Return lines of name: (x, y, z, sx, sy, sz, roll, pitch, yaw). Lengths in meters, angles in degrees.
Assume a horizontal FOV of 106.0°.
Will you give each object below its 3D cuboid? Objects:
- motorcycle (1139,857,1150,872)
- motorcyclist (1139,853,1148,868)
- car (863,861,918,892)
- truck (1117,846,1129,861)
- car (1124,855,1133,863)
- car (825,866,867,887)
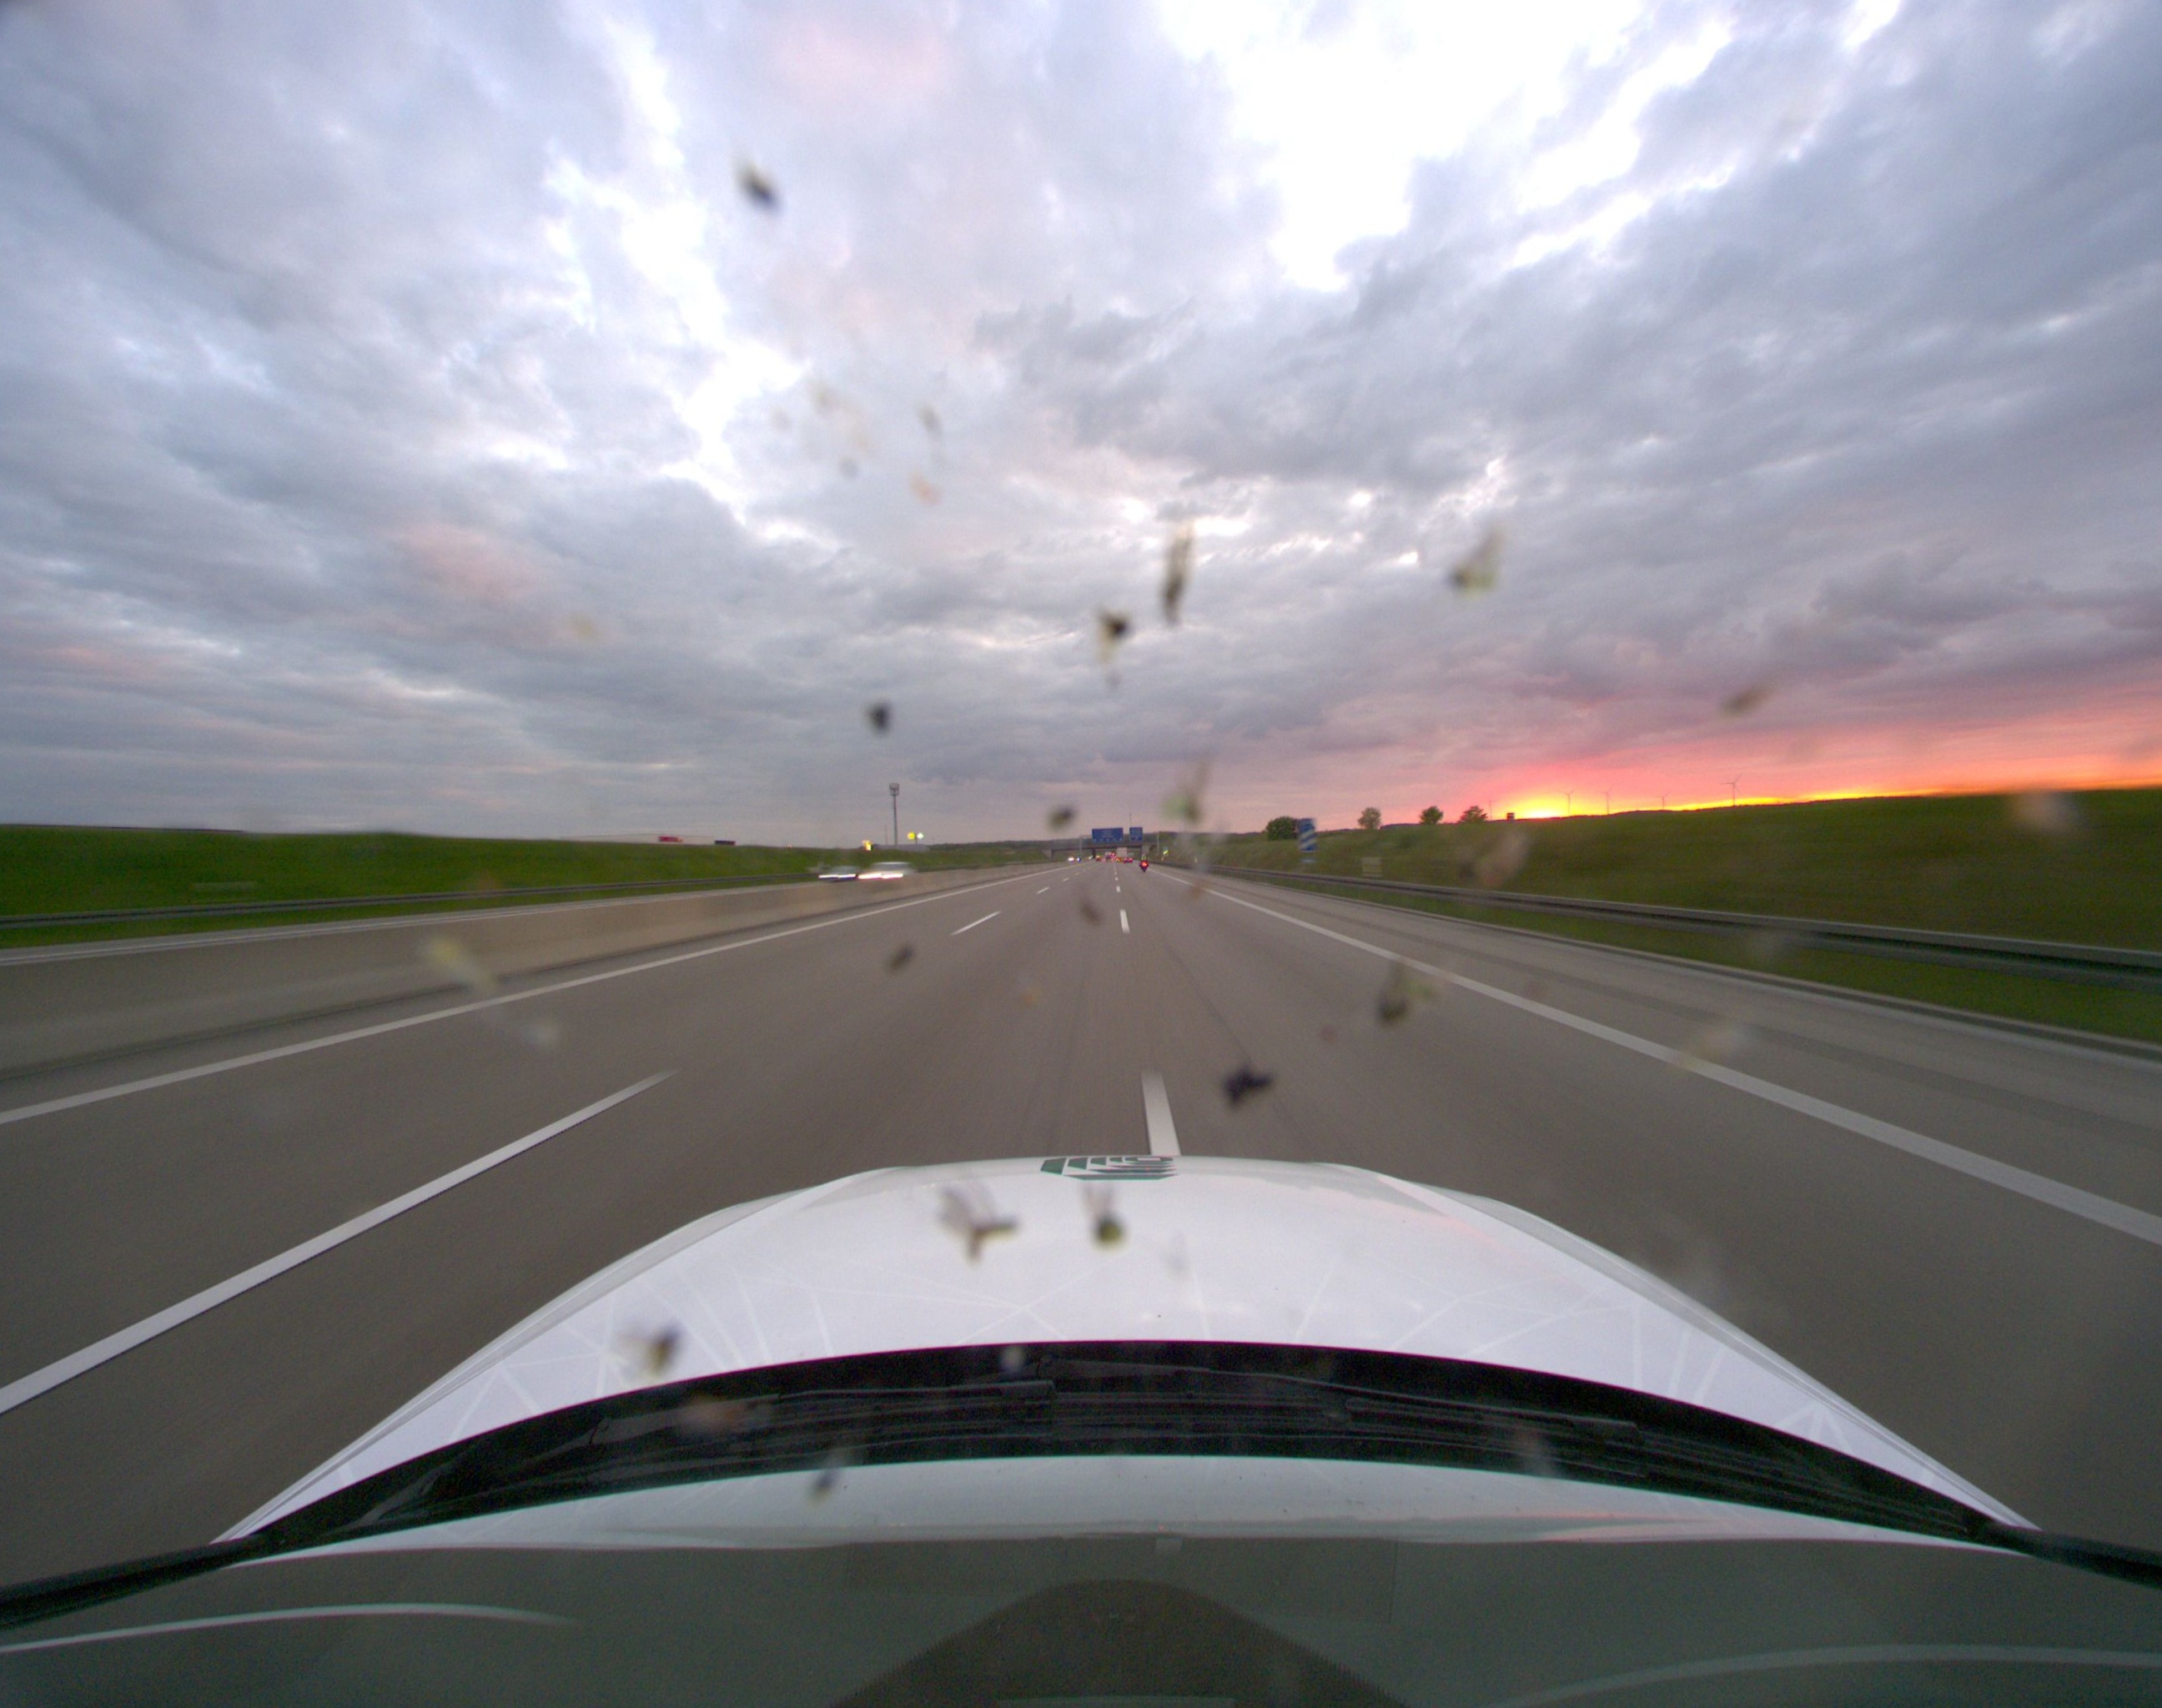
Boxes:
motorcycle: (6.076, 0.961, 77.801, 0.898, 1.346, 2.350, -1, 0, 3)
motorcyclist: (5.947, 0.611, 77.667, 0.862, 1.487, 1.169, 0, 0, 4)
car: (-11.564, 1.325, 49.875, 1.986, 1.735, 5.184, -1, 0, 1)
truck: (11.485, -0.133, 225.491, 3.221, 4.227, 9.605, 0, 0, 3)
car: (10.627, 1.090, 182.864, 1.911, 1.579, 4.001, -1, 0, 1)
car: (-17.510, 1.666, 60.788, 1.732, 1.392, 4.344, -1, 0, 1)
